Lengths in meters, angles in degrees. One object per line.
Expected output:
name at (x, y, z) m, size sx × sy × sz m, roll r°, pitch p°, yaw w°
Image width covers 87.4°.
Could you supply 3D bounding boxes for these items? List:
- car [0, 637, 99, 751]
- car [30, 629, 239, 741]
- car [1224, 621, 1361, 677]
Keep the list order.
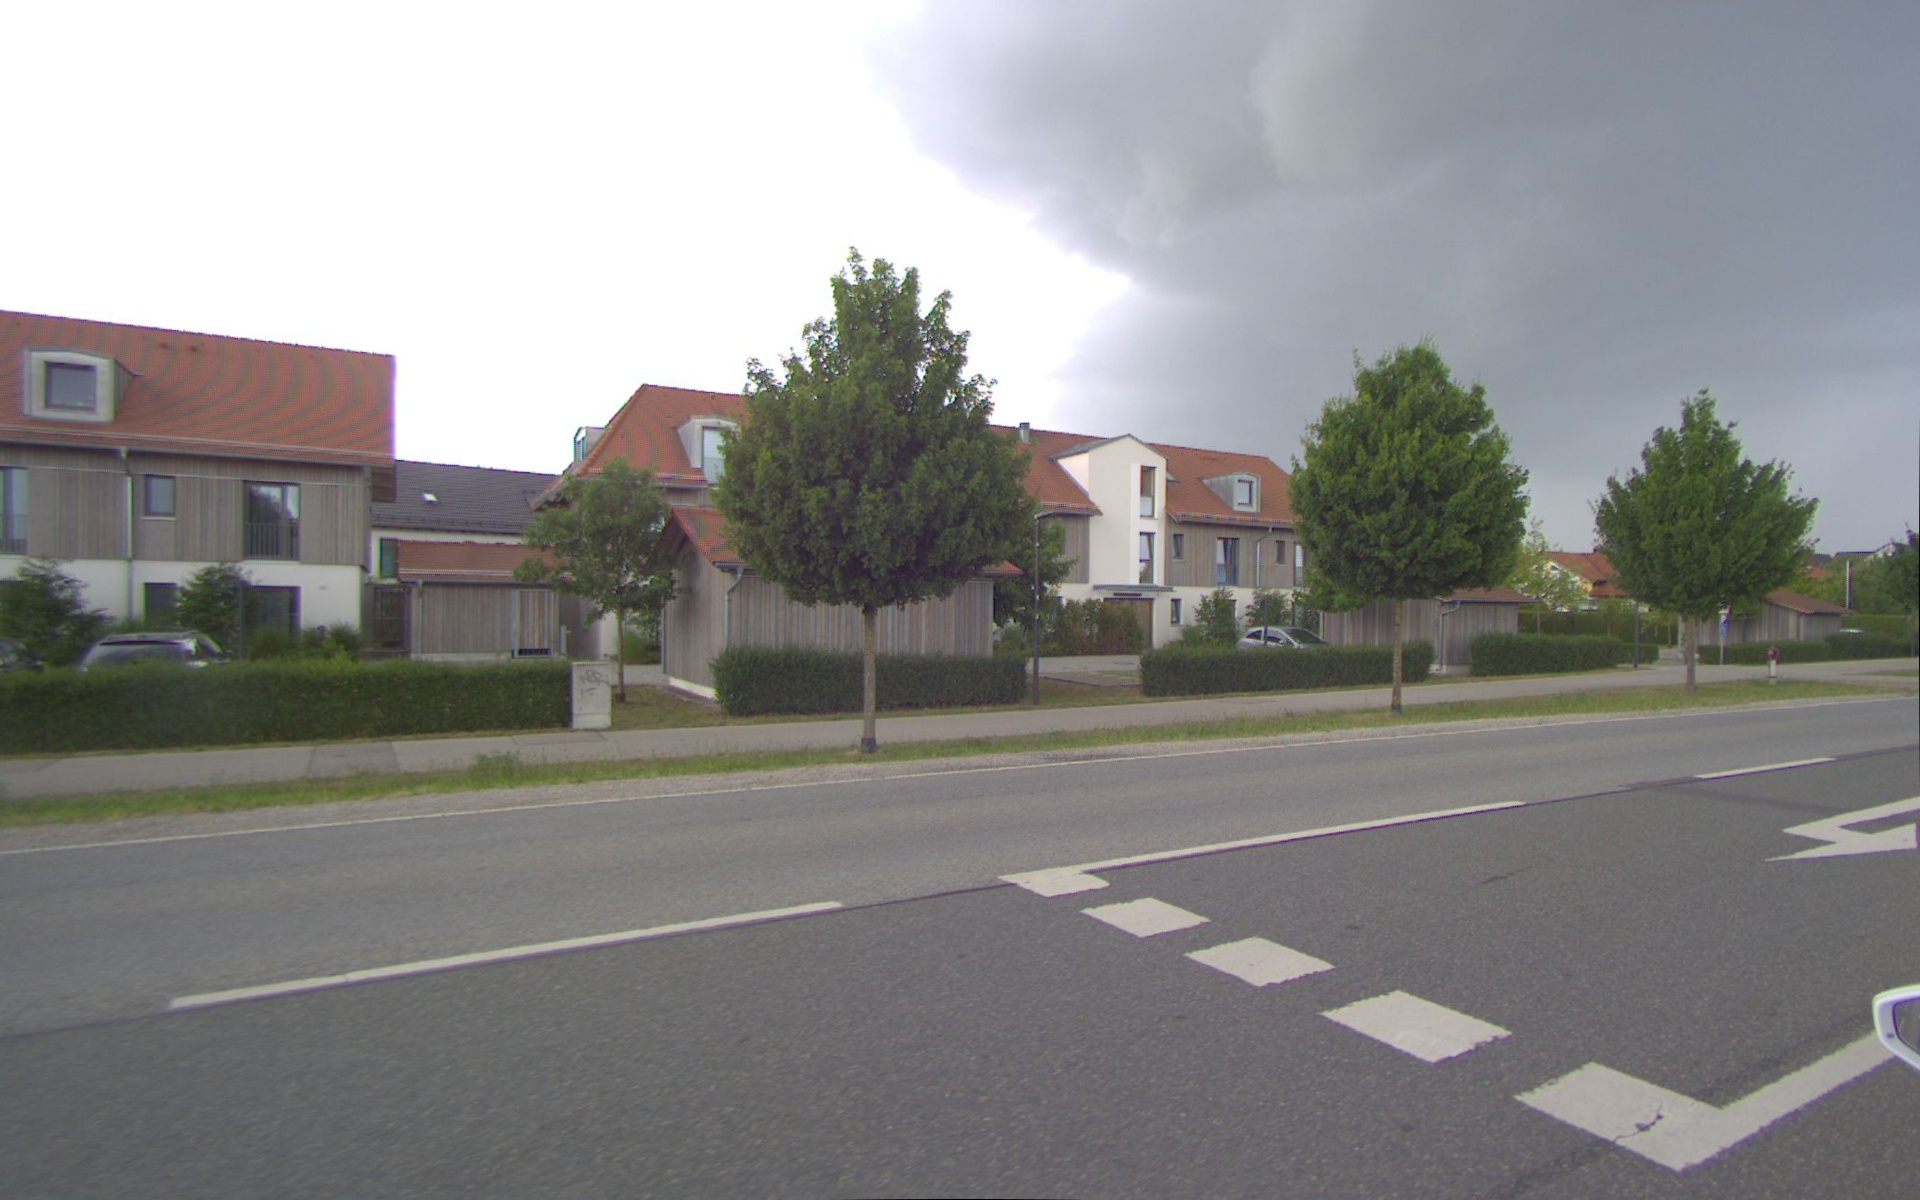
car at (-15.602, 1.432, 16.049) m, size 1.975 × 1.639 × 3.971 m, roll 1°, pitch -2°, yaw -28°
car at (-13.764, 1.319, 17.036) m, size 1.975 × 1.639 × 3.971 m, roll 1°, pitch -2°, yaw -28°
car at (10.823, 1.544, 32.951) m, size 1.975 × 1.577 × 3.969 m, roll 1°, pitch 1°, yaw -29°
